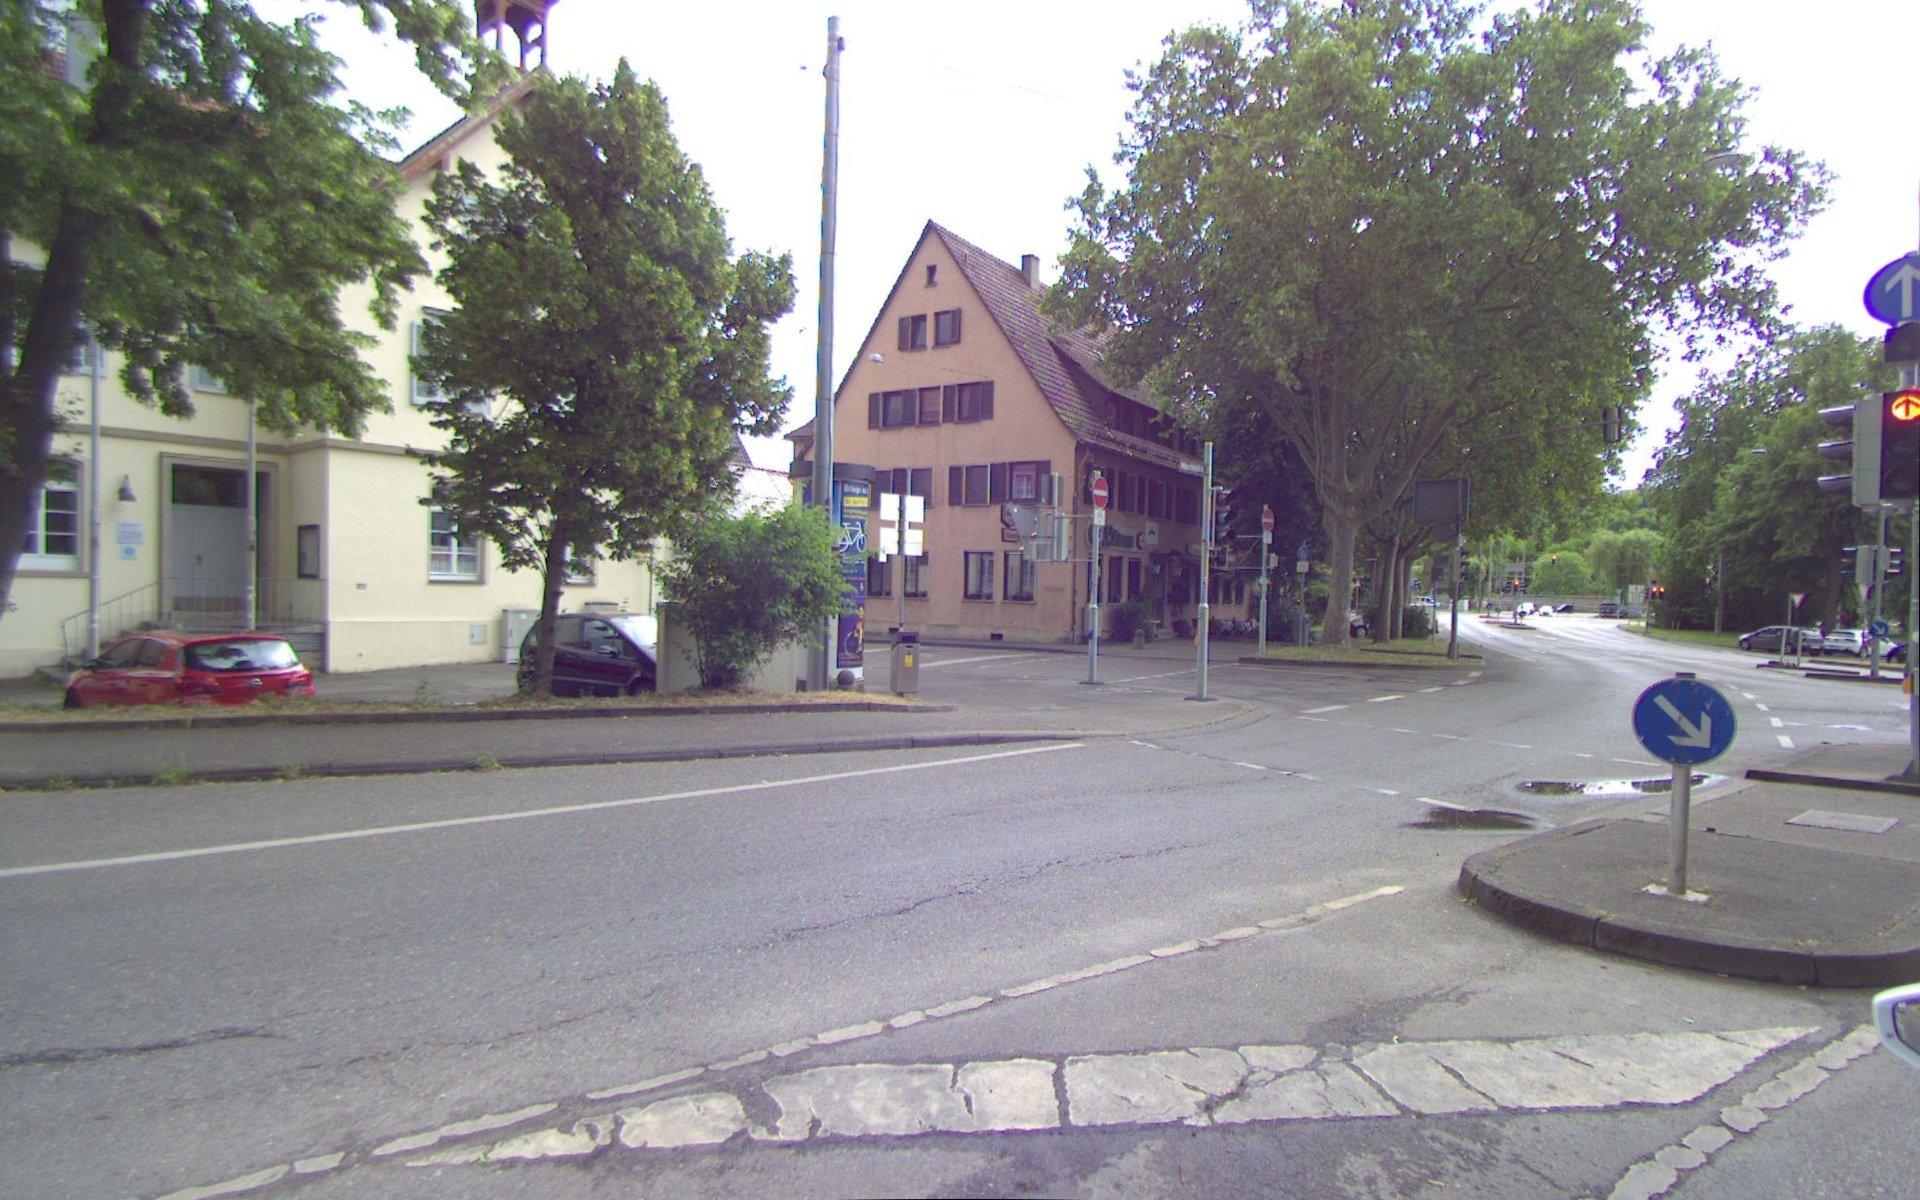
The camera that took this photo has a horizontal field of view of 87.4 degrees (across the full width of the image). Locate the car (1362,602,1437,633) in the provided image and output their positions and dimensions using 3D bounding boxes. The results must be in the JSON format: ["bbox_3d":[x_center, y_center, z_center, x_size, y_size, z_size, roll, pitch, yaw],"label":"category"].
[{"bbox_3d":[25.726,1.011,58.782,3.924,1.706,1.998,1,0,25],"label":"car"}]

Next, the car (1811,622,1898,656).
[{"bbox_3d":[47.459,2.043,53.324,3.696,1.662,1.859,2,0,-19],"label":"car"}]

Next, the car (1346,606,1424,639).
[{"bbox_3d":[23.994,1.255,56.706,3.924,1.706,1.998,1,0,25],"label":"car"}]

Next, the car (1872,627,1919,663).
[{"bbox_3d":[39.443,1.863,40.763,1.746,1.370,3.326,2,0,-2],"label":"car"}]

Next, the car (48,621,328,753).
[{"bbox_3d":[-10.301,1.047,13.364,3.653,1.401,1.659,2,0,30],"label":"car"}]

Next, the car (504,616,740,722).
[{"bbox_3d":[-5.535,1.052,16.440,3.507,1.459,1.644,2,0,26],"label":"car"}]

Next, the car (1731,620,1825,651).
[{"bbox_3d":[43.815,1.881,53.905,1.592,1.485,3.778,2,0,-11],"label":"car"}]

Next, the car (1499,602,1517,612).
[{"bbox_3d":[85.290,1.084,156.414,1.553,1.506,3.337,3,0,12],"label":"car"}]

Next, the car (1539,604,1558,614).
[{"bbox_3d":[91.060,1.362,155.457,1.469,1.436,3.028,3,0,10],"label":"car"}]
